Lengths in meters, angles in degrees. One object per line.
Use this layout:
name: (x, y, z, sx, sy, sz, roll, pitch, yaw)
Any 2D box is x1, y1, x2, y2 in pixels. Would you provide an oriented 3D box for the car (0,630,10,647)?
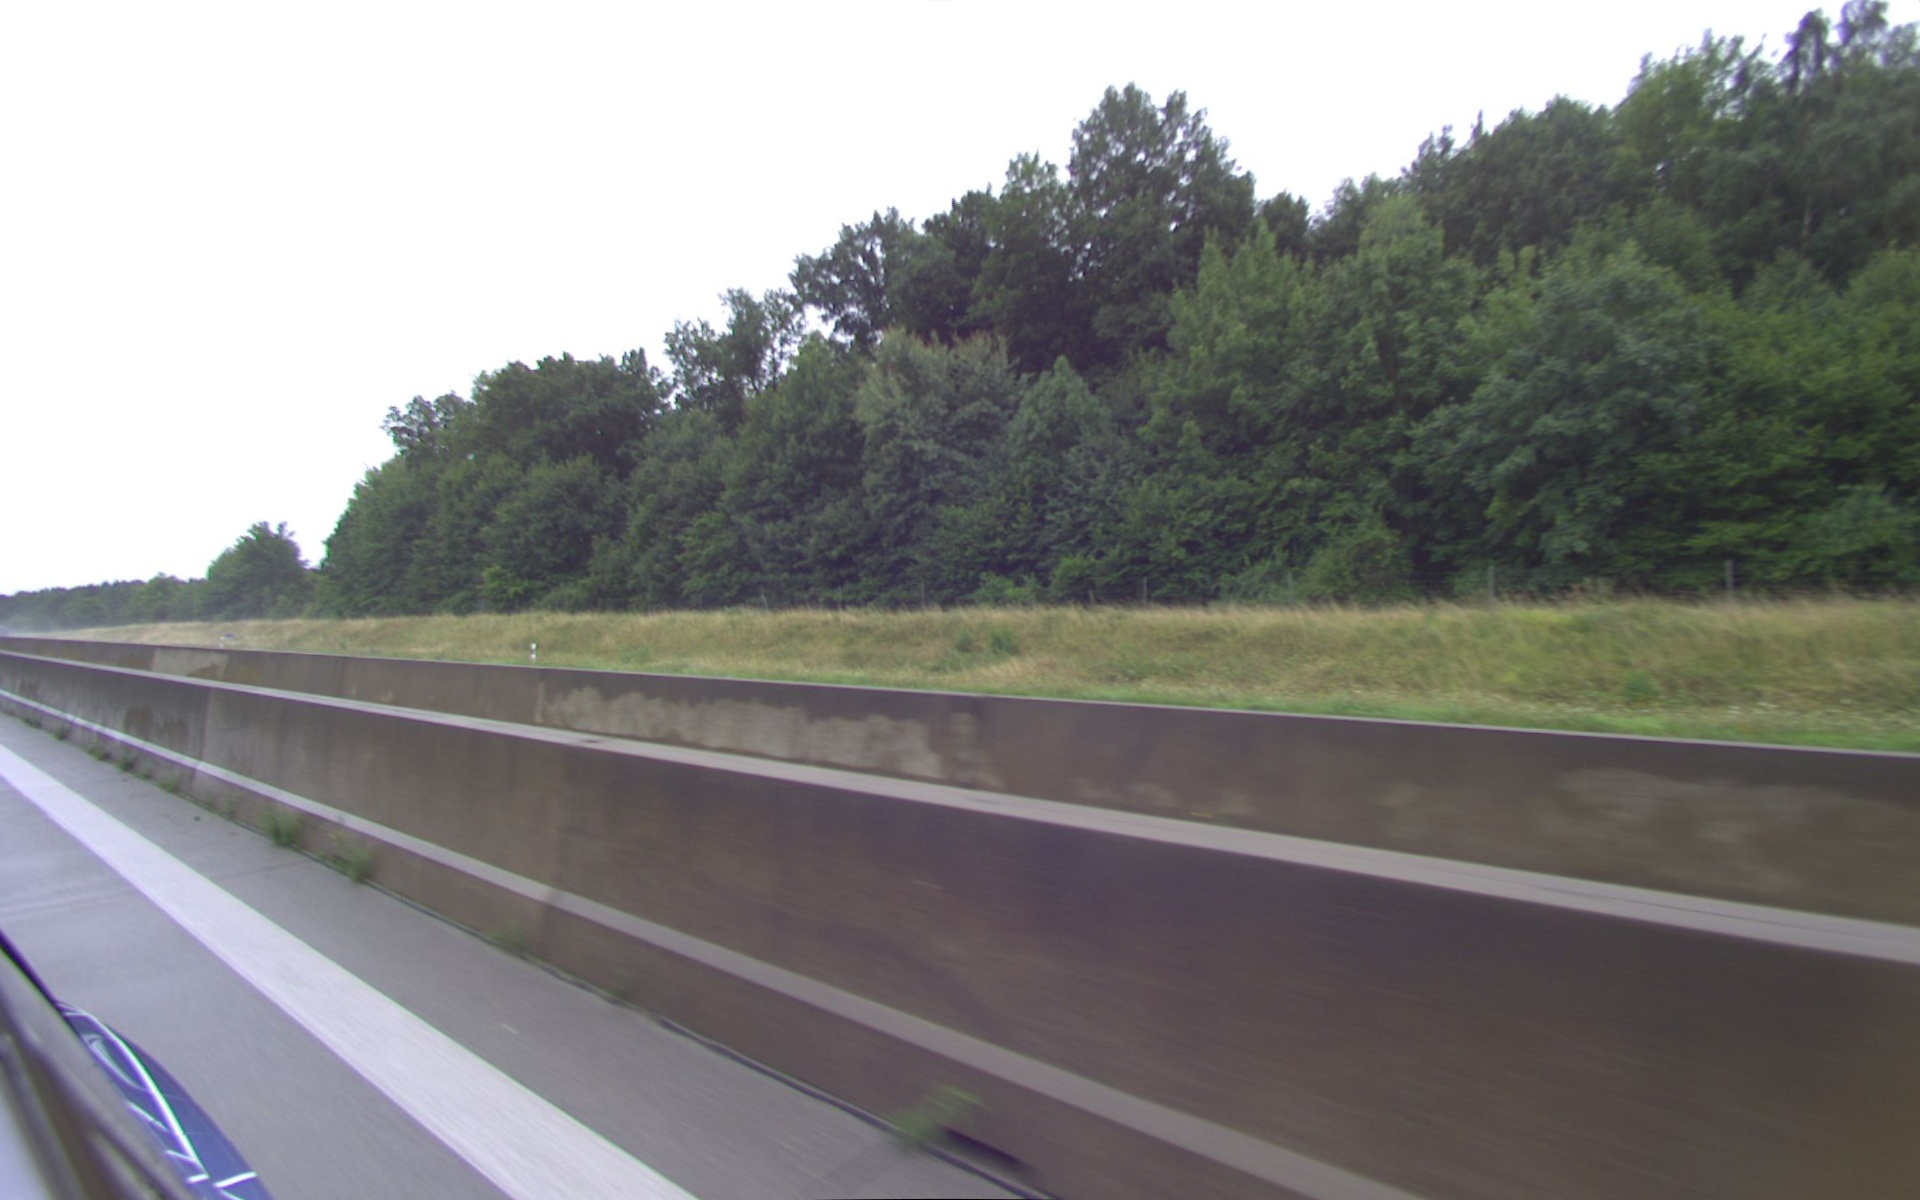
car: (-97.639, 3.838, 102.280, 4.685, 1.678, 1.859, -1, -3, 41)
